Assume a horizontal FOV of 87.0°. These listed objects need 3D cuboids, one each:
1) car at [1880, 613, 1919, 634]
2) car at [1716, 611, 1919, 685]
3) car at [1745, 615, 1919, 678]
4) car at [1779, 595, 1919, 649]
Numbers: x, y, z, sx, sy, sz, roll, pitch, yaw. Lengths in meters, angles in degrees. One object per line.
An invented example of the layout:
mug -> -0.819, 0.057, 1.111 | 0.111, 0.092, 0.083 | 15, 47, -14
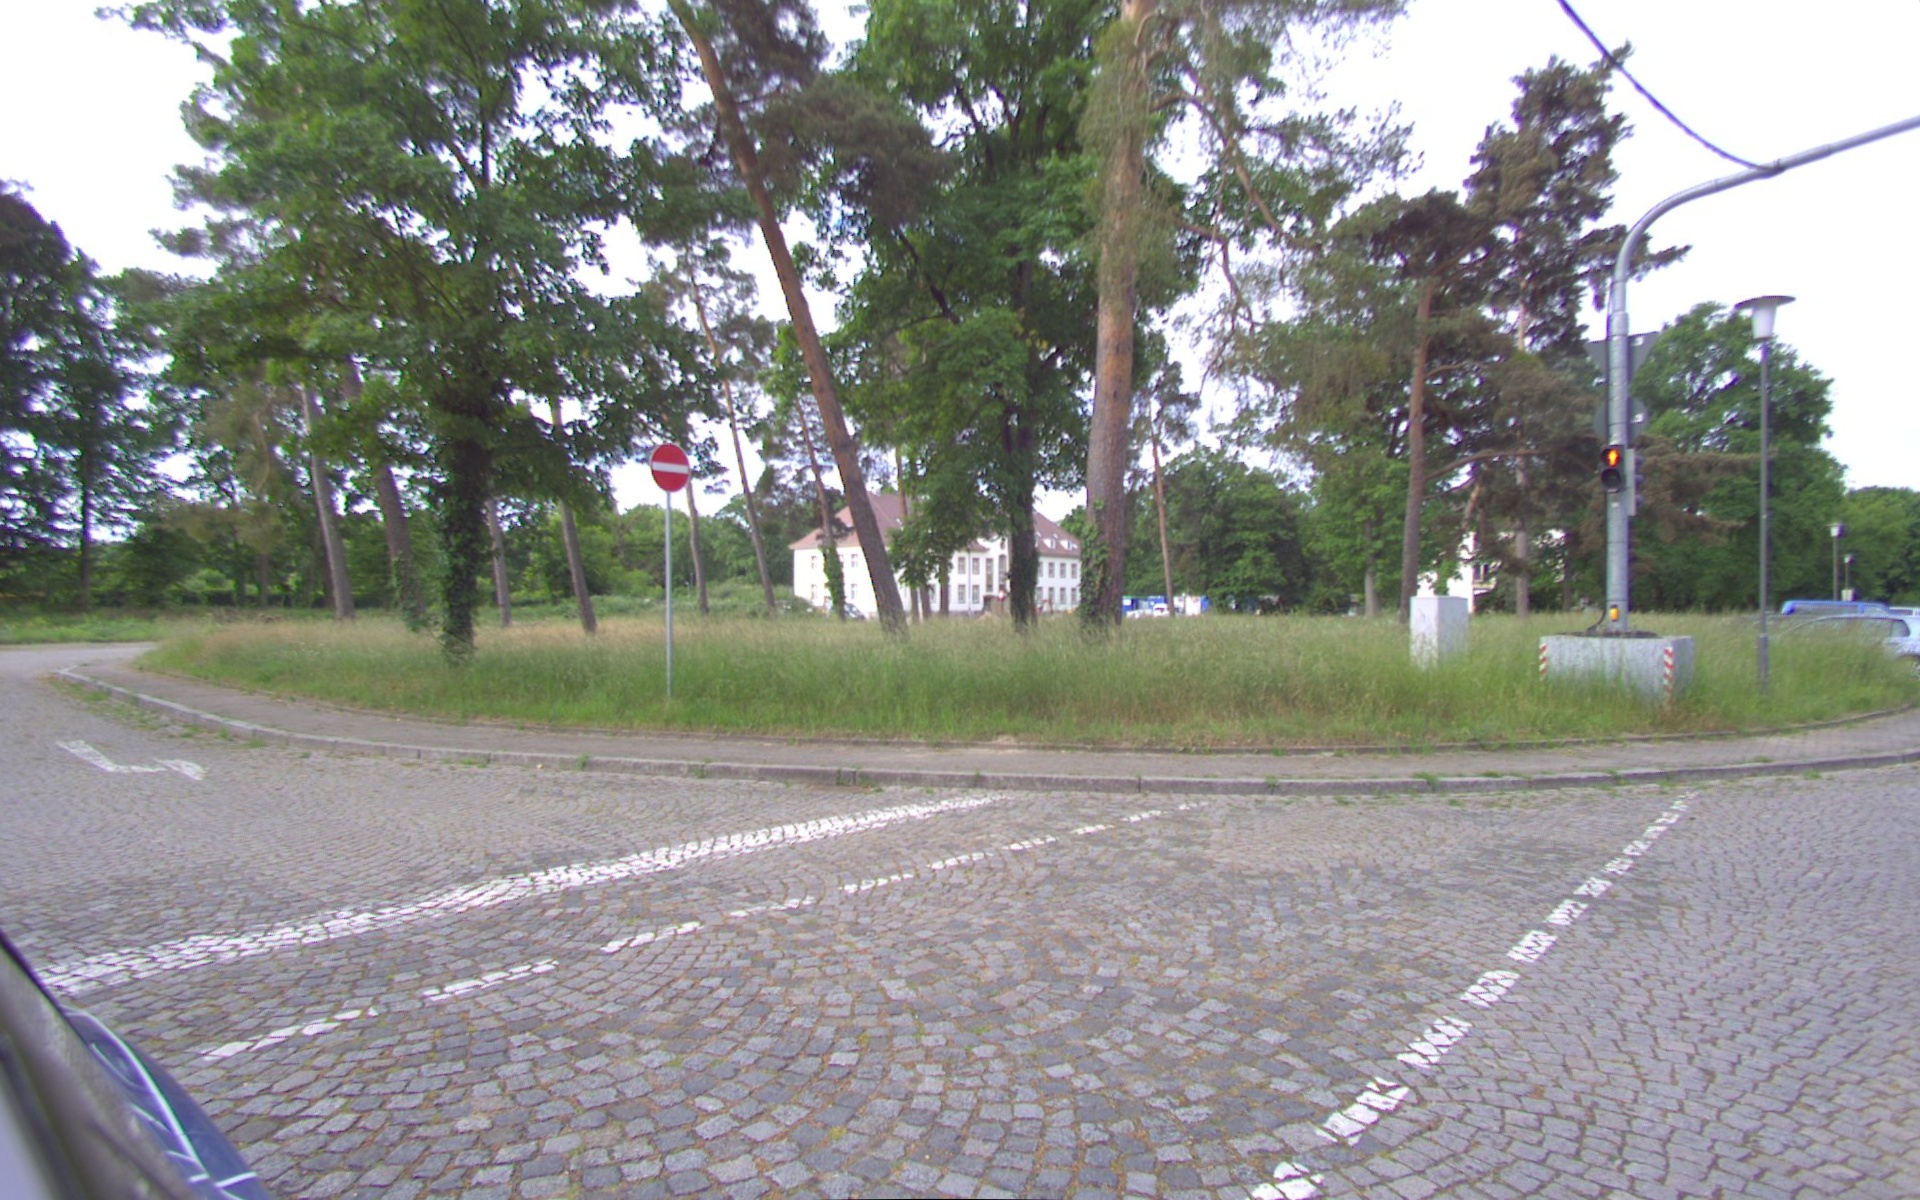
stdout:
car -> 91.198, 2.244, 96.478 | 5.162, 2.029, 1.972 | 0, -1, 42
car -> 18.943, 0.981, 21.927 | 3.998, 1.483, 1.667 | 0, -1, 41
car -> 20.887, 1.040, 23.572 | 4.001, 1.364, 1.667 | 0, -1, 43
car -> 34.860, 0.843, 39.141 | 4.793, 1.996, 1.970 | -2, -2, 43
